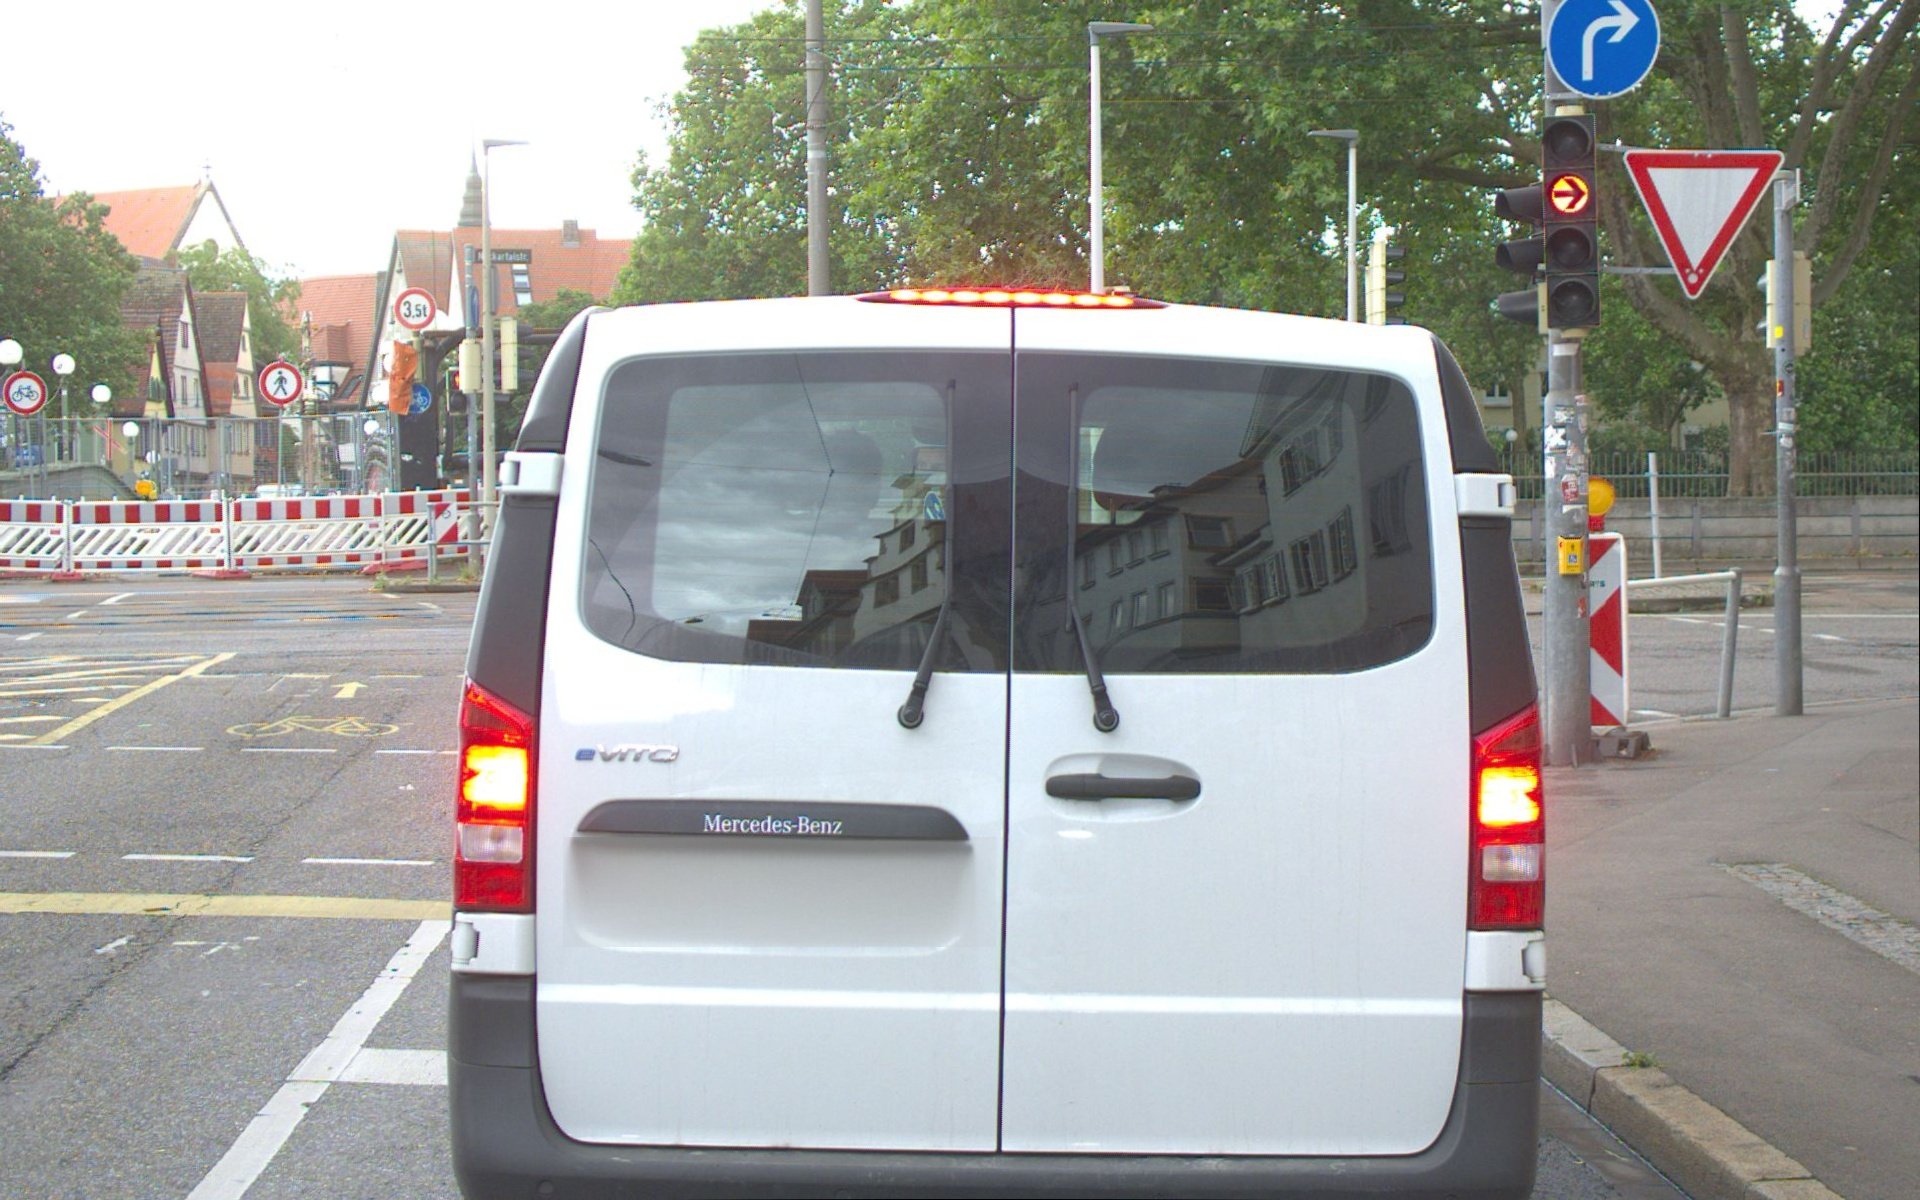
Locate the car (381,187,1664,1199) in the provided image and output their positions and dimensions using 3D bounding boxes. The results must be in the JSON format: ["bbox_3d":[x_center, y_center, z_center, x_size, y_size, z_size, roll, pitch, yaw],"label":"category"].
[{"bbox_3d":[0.064,0.287,7.643,1.951,2.006,4.699,1,2,-1],"label":"car"}]
